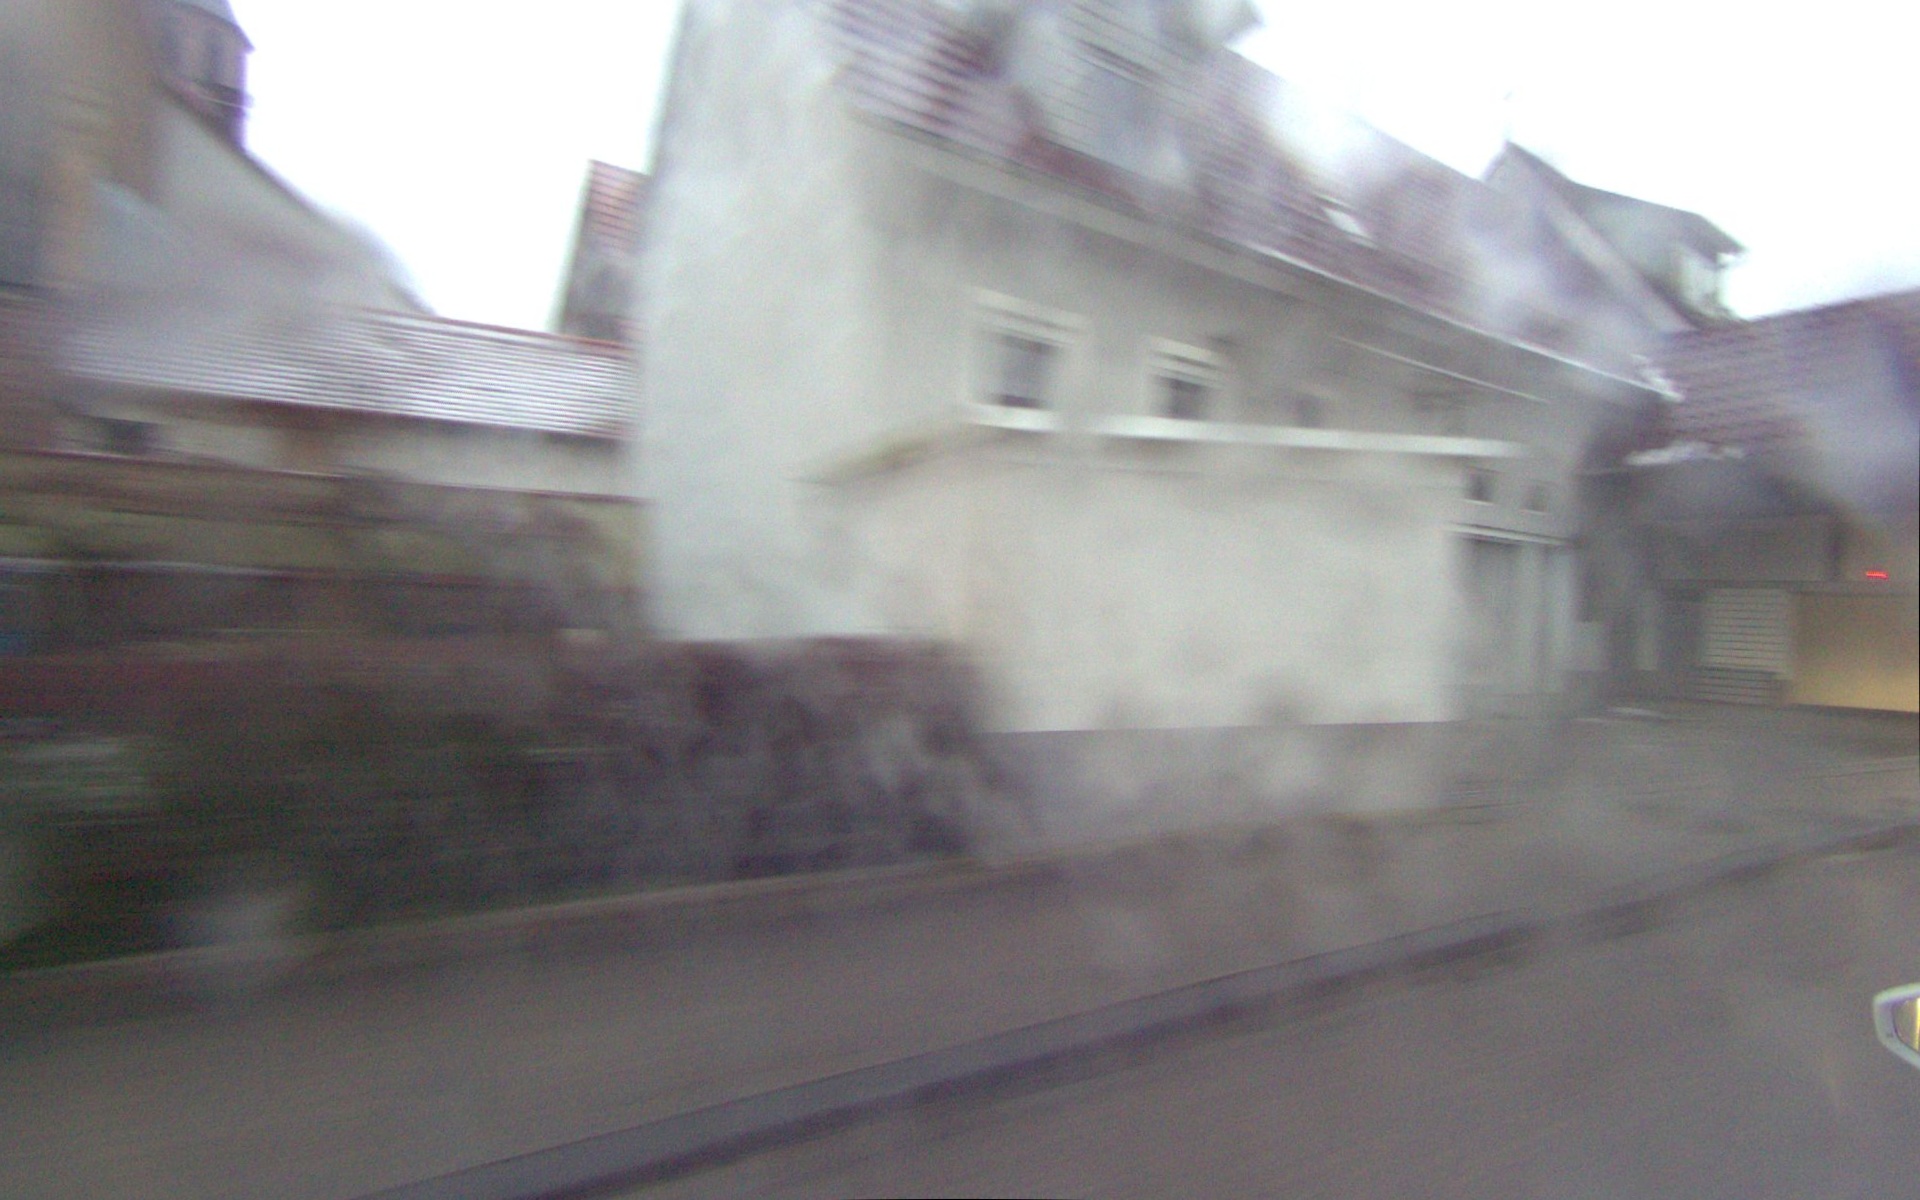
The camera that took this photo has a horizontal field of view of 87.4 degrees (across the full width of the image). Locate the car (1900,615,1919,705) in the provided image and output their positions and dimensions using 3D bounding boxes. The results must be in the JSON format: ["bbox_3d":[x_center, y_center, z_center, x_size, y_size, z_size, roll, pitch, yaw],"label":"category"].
[{"bbox_3d":[17.527,1.071,16.768,3.759,1.440,1.611,2,1,-30],"label":"car"}]
